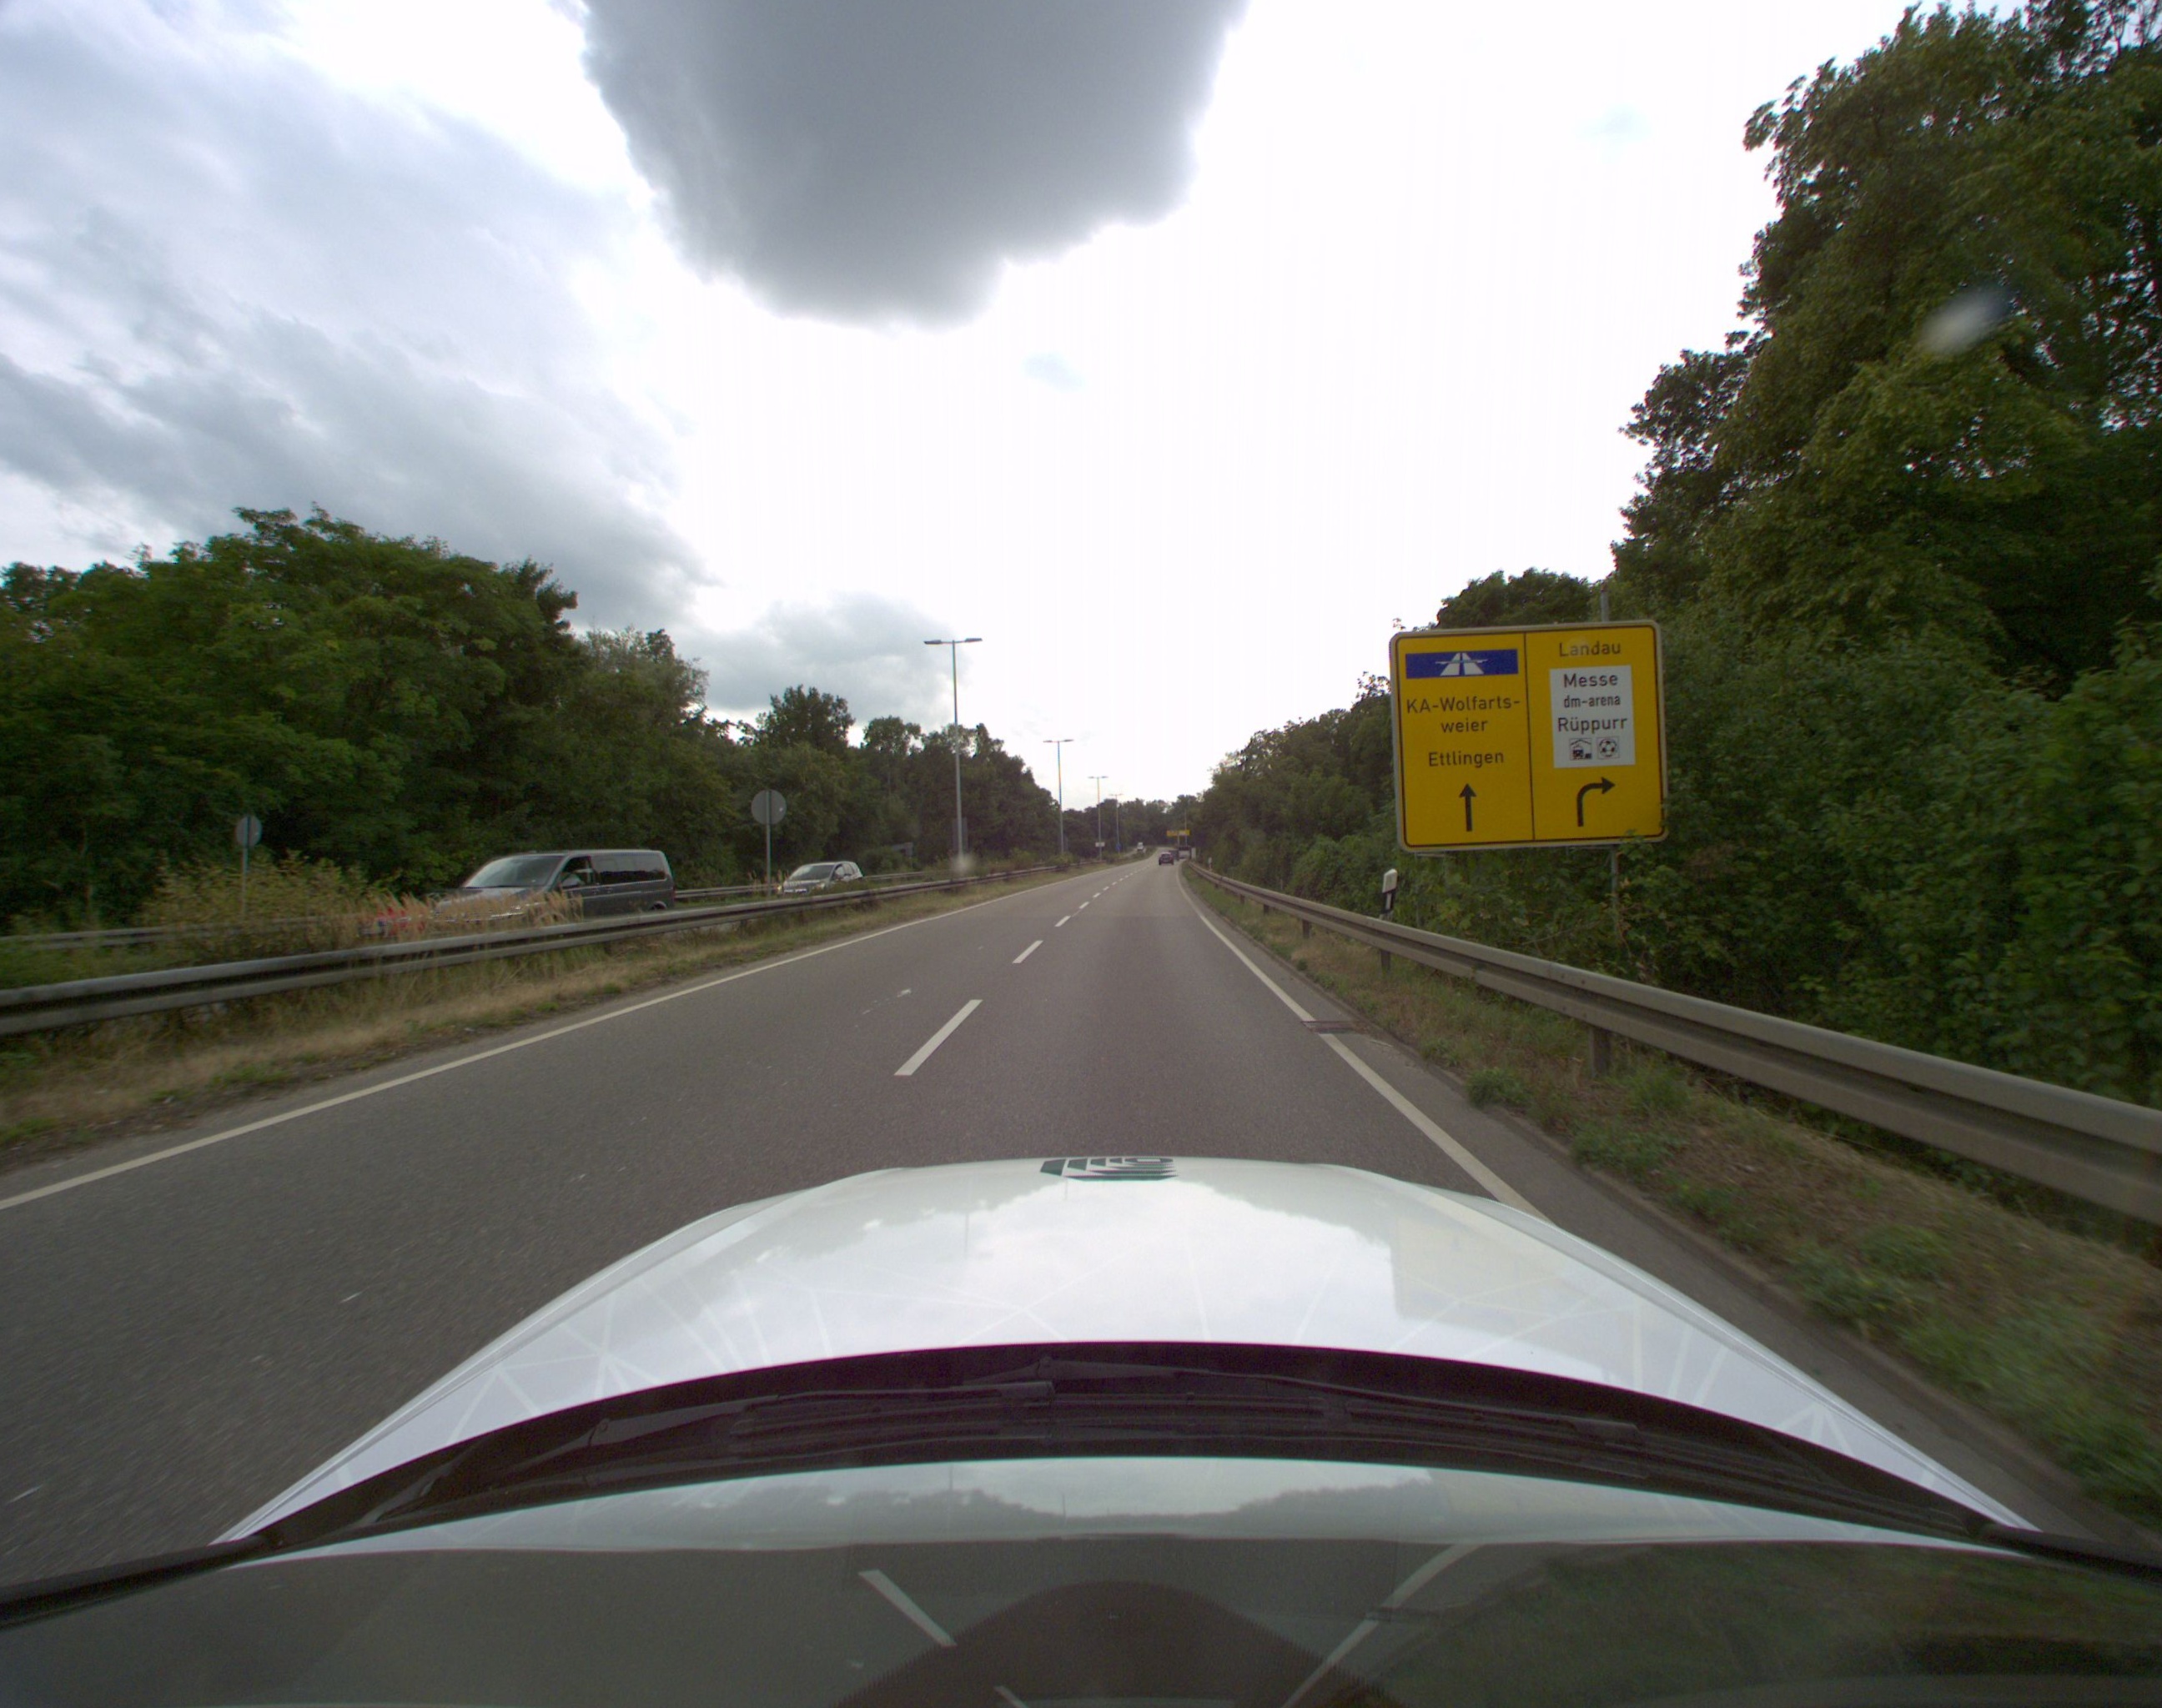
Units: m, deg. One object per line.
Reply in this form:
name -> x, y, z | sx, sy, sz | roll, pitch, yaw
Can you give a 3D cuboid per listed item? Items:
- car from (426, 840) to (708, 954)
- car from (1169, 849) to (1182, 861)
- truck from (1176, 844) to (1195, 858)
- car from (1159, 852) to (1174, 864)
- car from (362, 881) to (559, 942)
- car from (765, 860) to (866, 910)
car -> -9.853, 0.773, 16.311 | 2.000, 1.863, 5.283 | -2, -1, 4
car -> 16.159, 0.159, 139.054 | 2.136, 2.014, 4.009 | -2, -1, 8
truck -> 22.677, -0.590, 176.281 | 2.959, 2.885, 8.021 | -2, -1, 14
car -> 10.374, 0.465, 98.654 | 1.616, 1.377, 4.009 | -2, -1, 8
car -> -15.744, 1.399, 20.979 | 1.615, 1.332, 4.167 | -2, -1, 6
car -> -8.775, 1.014, 27.264 | 1.758, 1.506, 3.945 | -2, -1, 5
